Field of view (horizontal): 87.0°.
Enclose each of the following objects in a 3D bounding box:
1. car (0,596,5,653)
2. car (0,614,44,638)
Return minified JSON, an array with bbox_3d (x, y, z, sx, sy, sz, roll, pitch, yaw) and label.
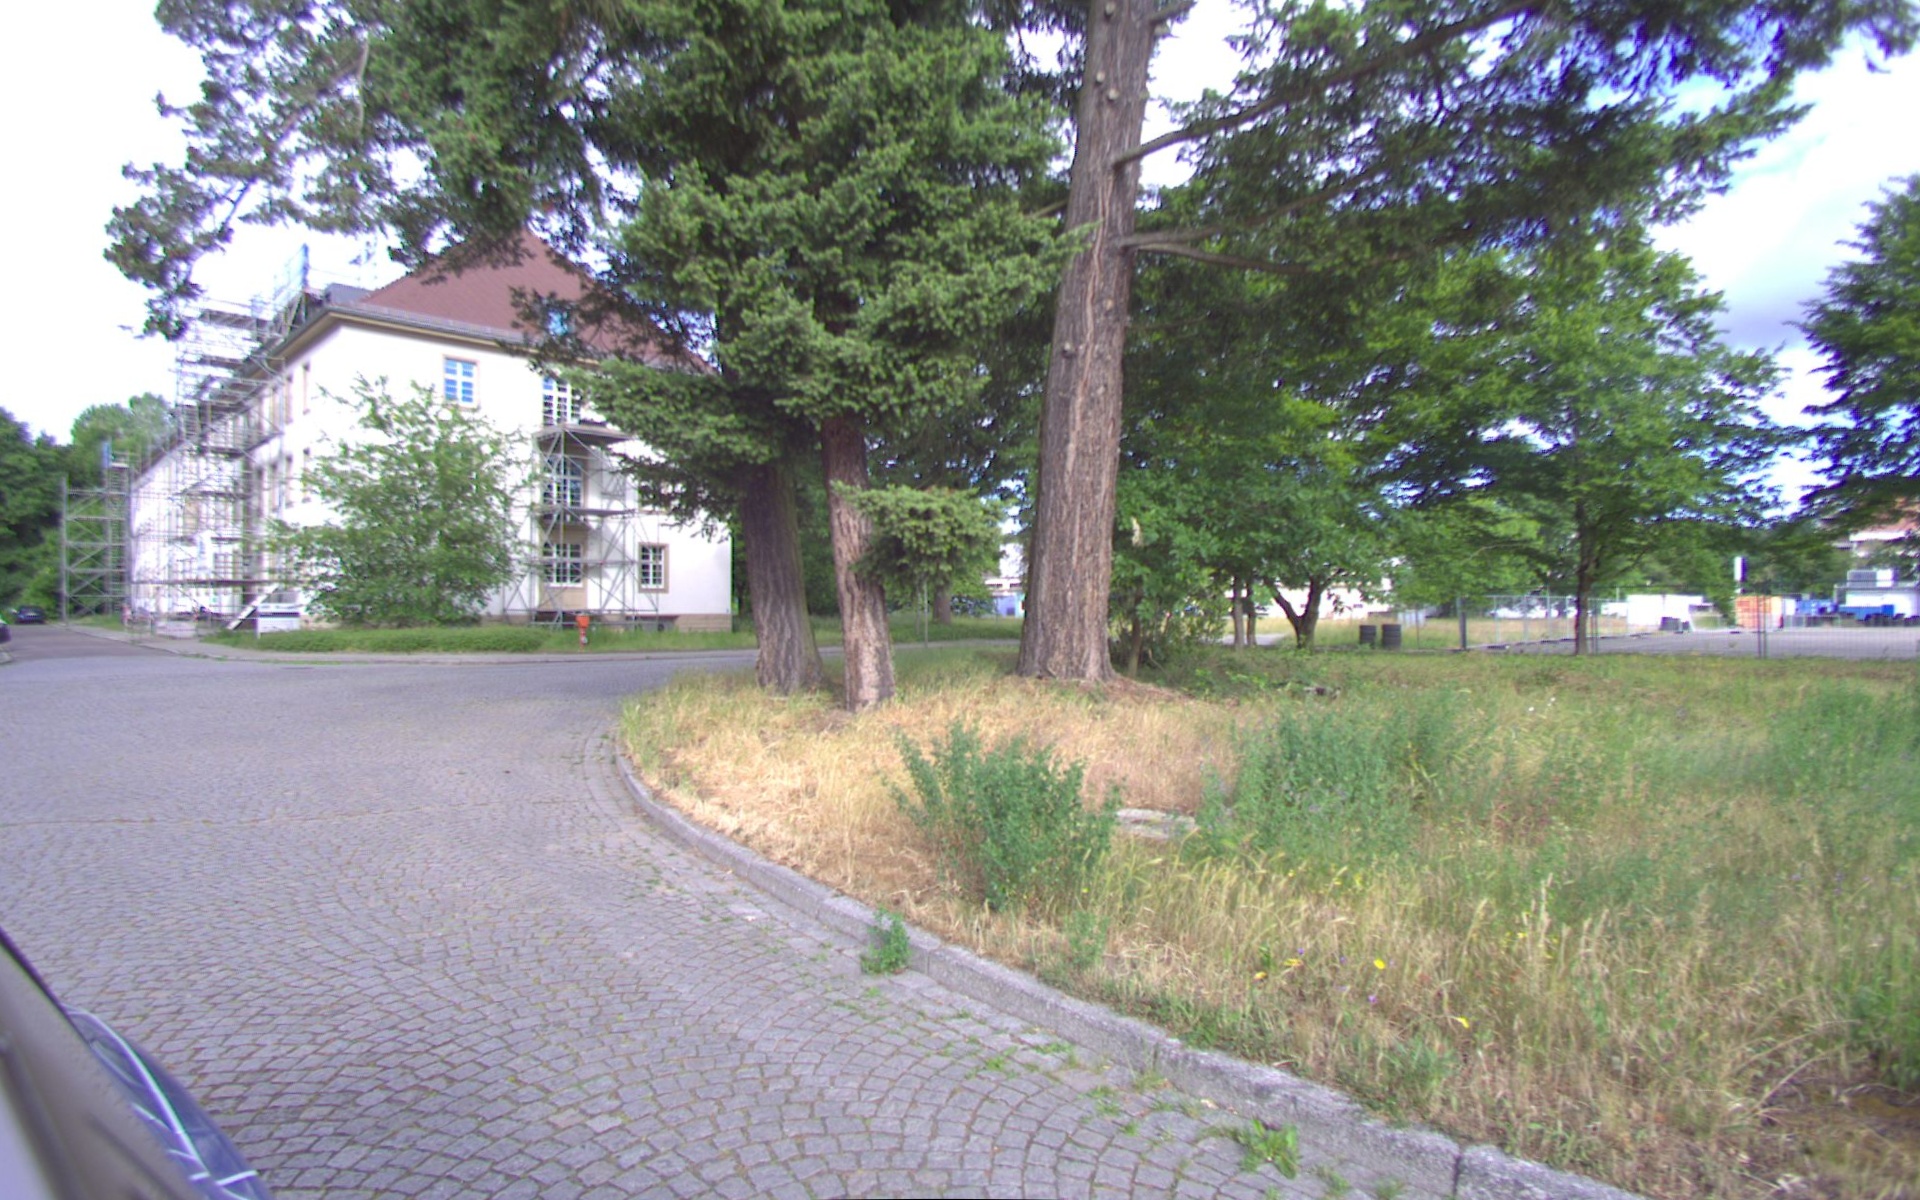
[{"bbox_3d":[-35.754,0.843,34.245,2.000,2.010,4.849,-1,-1,42],"label":"car"},{"bbox_3d":[-78.865,2.192,84.989,3.990,1.941,2.005,-1,-1,35],"label":"car"}]
